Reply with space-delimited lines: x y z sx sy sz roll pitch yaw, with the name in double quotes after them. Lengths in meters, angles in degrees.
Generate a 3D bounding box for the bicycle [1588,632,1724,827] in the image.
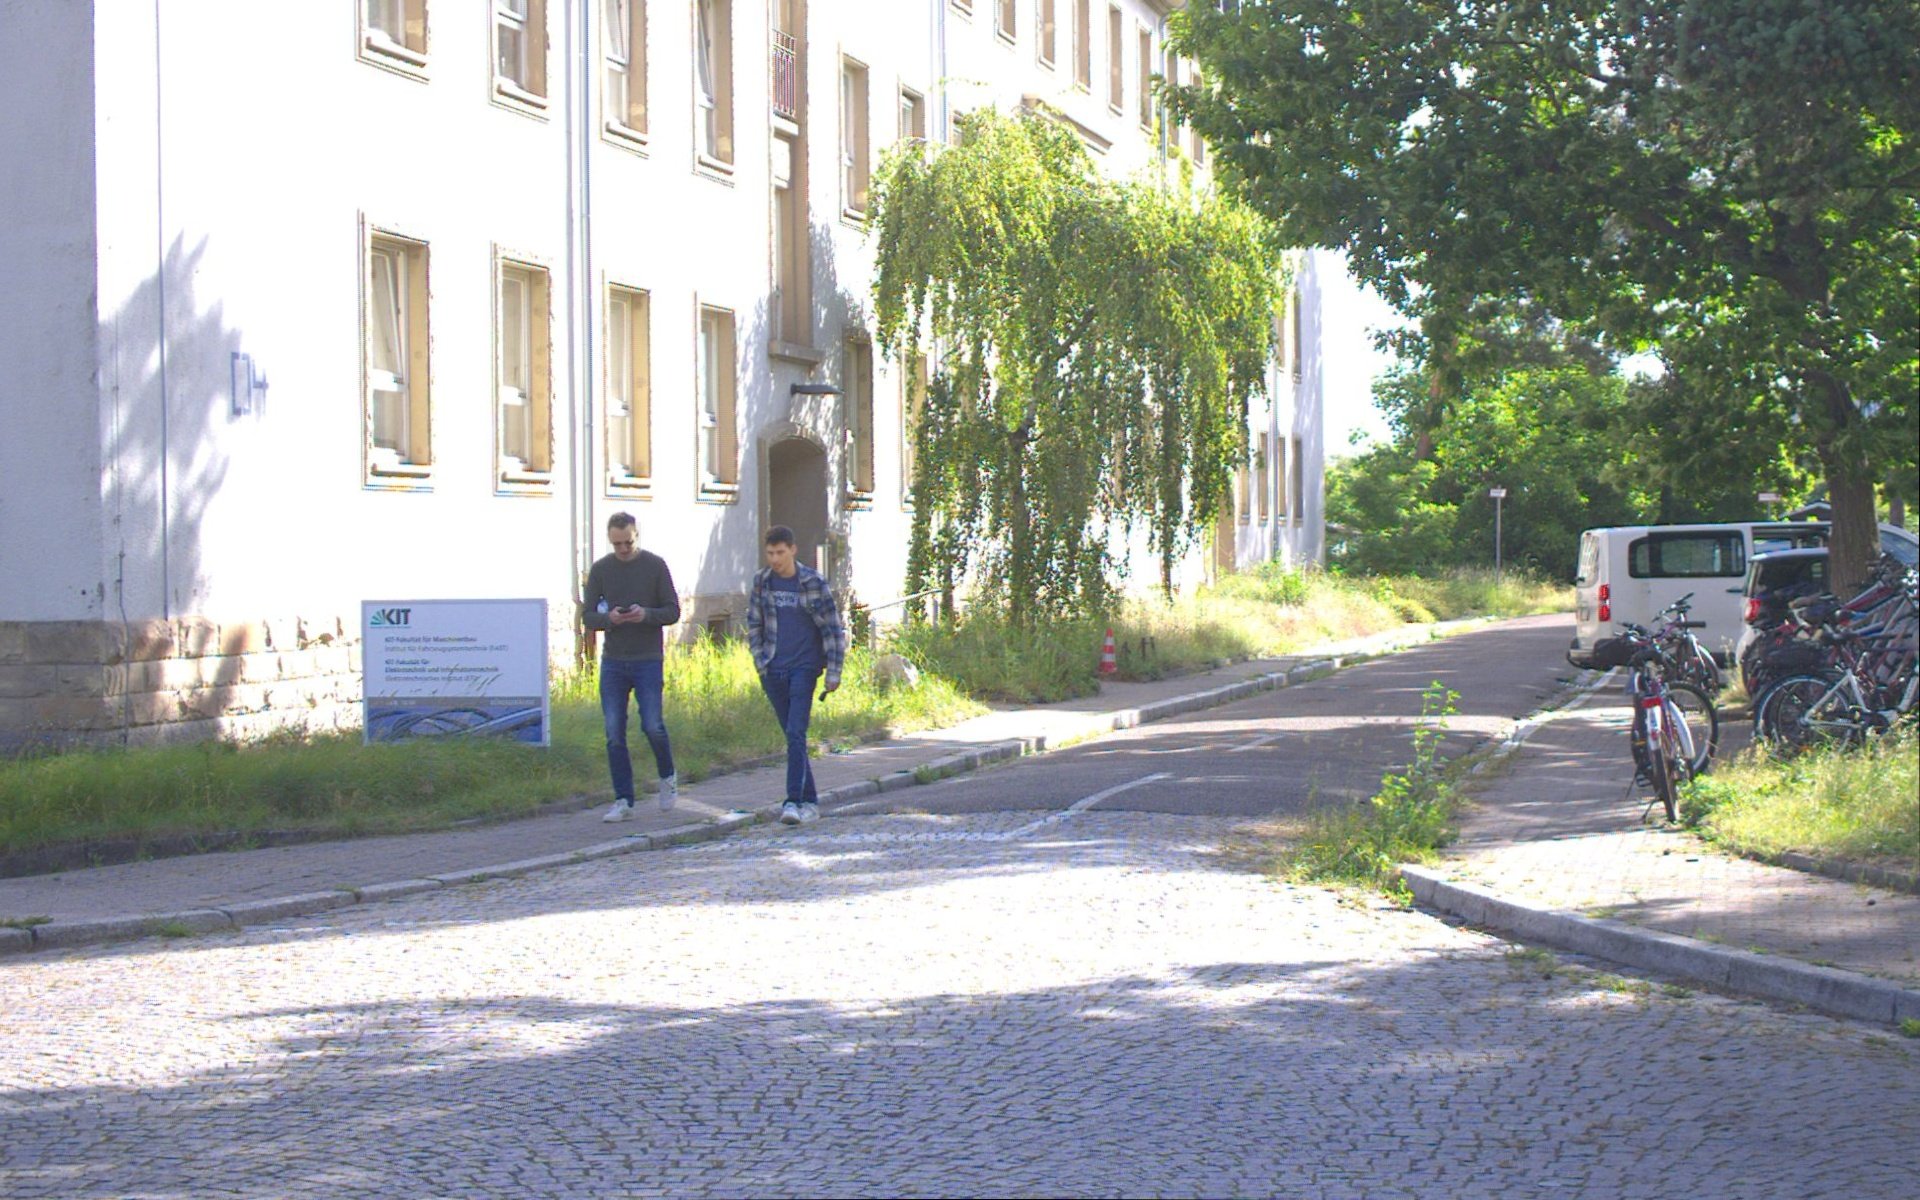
3.843 0.689 19.002 0.696 0.968 1.860 0 1 11 "bicycle"

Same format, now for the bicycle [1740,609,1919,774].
5.975 0.578 22.056 1.855 1.027 0.750 0 1 11 "bicycle"

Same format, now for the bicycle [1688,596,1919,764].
6.139 0.546 24.077 1.940 1.125 0.648 -1 1 -13 "bicycle"

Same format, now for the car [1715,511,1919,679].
9.878 -0.069 35.242 3.988 1.678 1.847 0 1 6 "car"

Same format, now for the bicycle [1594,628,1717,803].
4.226 0.677 20.906 0.696 0.968 1.860 0 1 11 "bicycle"

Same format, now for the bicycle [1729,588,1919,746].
6.632 0.484 25.096 1.941 1.125 0.647 0 1 8 "bicycle"

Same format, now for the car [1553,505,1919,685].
9.928 -0.076 39.688 5.932 2.007 2.475 0 1 7 "car"

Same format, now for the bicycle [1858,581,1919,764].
7.109 0.485 23.314 1.941 1.231 0.485 0 1 11 "bicycle"

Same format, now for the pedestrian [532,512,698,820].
-2.073 0.385 20.681 0.813 1.811 0.554 0 1 24 "pedestrian"

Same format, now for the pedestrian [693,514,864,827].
-1.071 0.401 20.340 0.768 1.811 0.681 0 1 24 "pedestrian"

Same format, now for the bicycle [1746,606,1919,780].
6.230 0.609 22.818 1.941 1.125 0.750 0 1 11 "bicycle"
